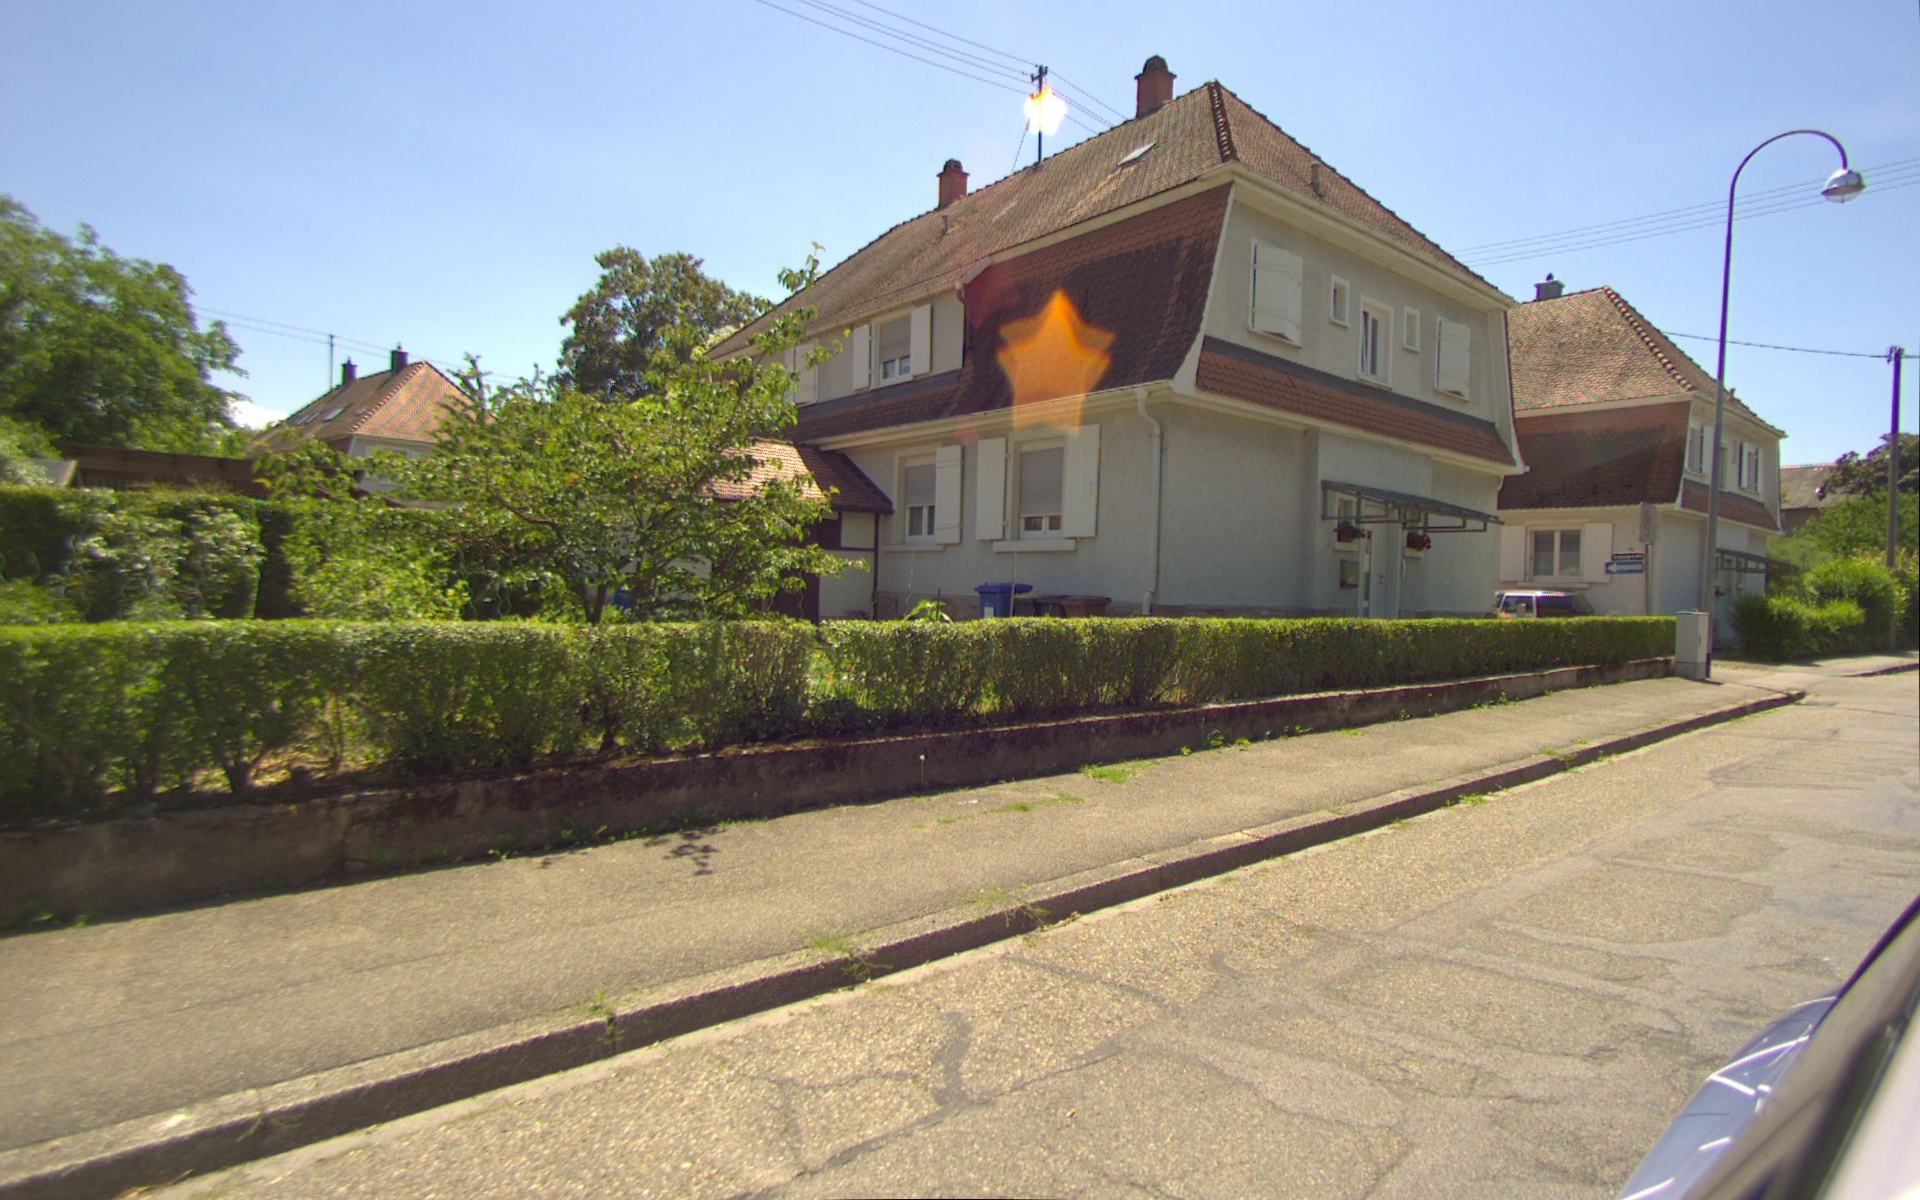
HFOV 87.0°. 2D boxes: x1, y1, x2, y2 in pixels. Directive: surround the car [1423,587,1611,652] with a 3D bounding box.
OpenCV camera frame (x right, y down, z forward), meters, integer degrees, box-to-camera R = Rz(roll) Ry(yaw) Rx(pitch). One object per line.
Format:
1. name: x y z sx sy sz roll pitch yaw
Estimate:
1. car: 14.463 0.446 26.442 1.663 1.555 4.003 0 1 -40
